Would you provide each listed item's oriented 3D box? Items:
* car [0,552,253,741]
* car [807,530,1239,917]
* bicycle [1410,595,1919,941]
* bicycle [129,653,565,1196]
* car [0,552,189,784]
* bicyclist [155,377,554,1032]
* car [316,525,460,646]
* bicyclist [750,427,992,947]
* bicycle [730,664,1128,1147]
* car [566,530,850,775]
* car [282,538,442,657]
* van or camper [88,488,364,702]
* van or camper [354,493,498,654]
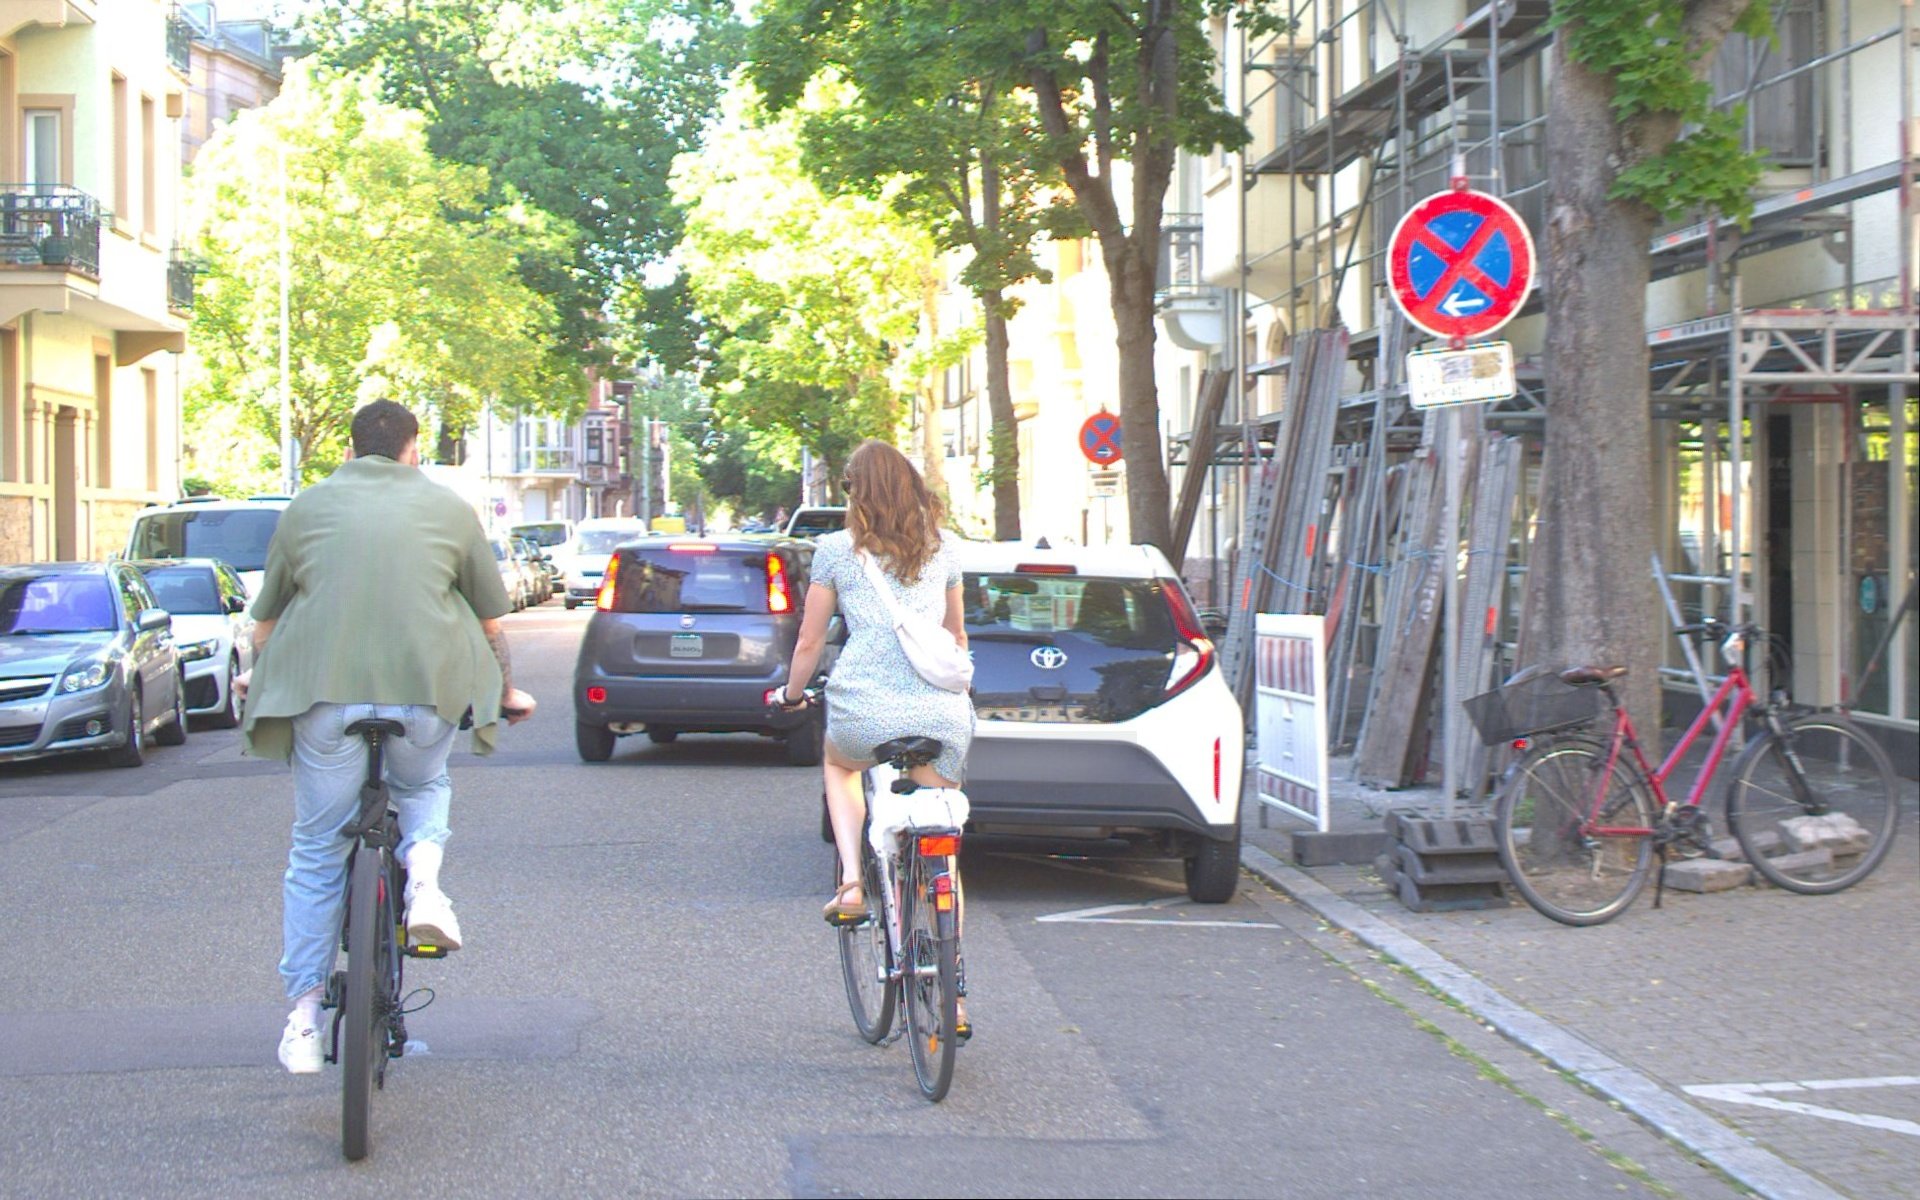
[{"bbox_3d":[-7.112,0.343,29.312,1.686,1.448,3.711,-1,1,-5],"label":"car"},{"bbox_3d":[0.182,0.470,15.655,1.674,1.540,3.404,1,1,-3],"label":"car"},{"bbox_3d":[2.825,0.620,13.389,1.979,1.161,0.727,-3,2,-21],"label":"bicycle"},{"bbox_3d":[-1.503,0.745,8.836,0.839,1.145,2.233,-1,1,-3],"label":"bicycle"},{"bbox_3d":[-6.689,0.429,24.300,1.978,1.450,4.115,-2,1,-7],"label":"car"},{"bbox_3d":[-1.501,0.260,8.662,0.881,1.556,0.868,-1,-2,-3],"label":"bicyclist"},{"bbox_3d":[-8.409,-0.247,50.771,1.710,1.693,4.001,0,1,-4],"label":"car"},{"bbox_3d":[-0.248,0.251,9.588,0.623,1.376,0.868,-1,-3,-1],"label":"bicyclist"},{"bbox_3d":[-0.149,0.792,9.742,0.839,1.145,2.233,2,0,-7],"label":"bicycle"},{"bbox_3d":[-1.663,0.302,23.656,1.557,1.527,3.486,-1,1,2],"label":"car"},{"bbox_3d":[-7.986,-0.068,46.206,1.710,1.499,4.001,0,1,-4],"label":"car"},{"bbox_3d":[-7.409,-0.102,35.188,1.993,2.007,4.912,-1,1,-3],"label":"van or camper"},{"bbox_3d":[-8.796,-0.488,56.935,1.993,2.544,5.024,0,1,-5],"label":"van or camper"}]
